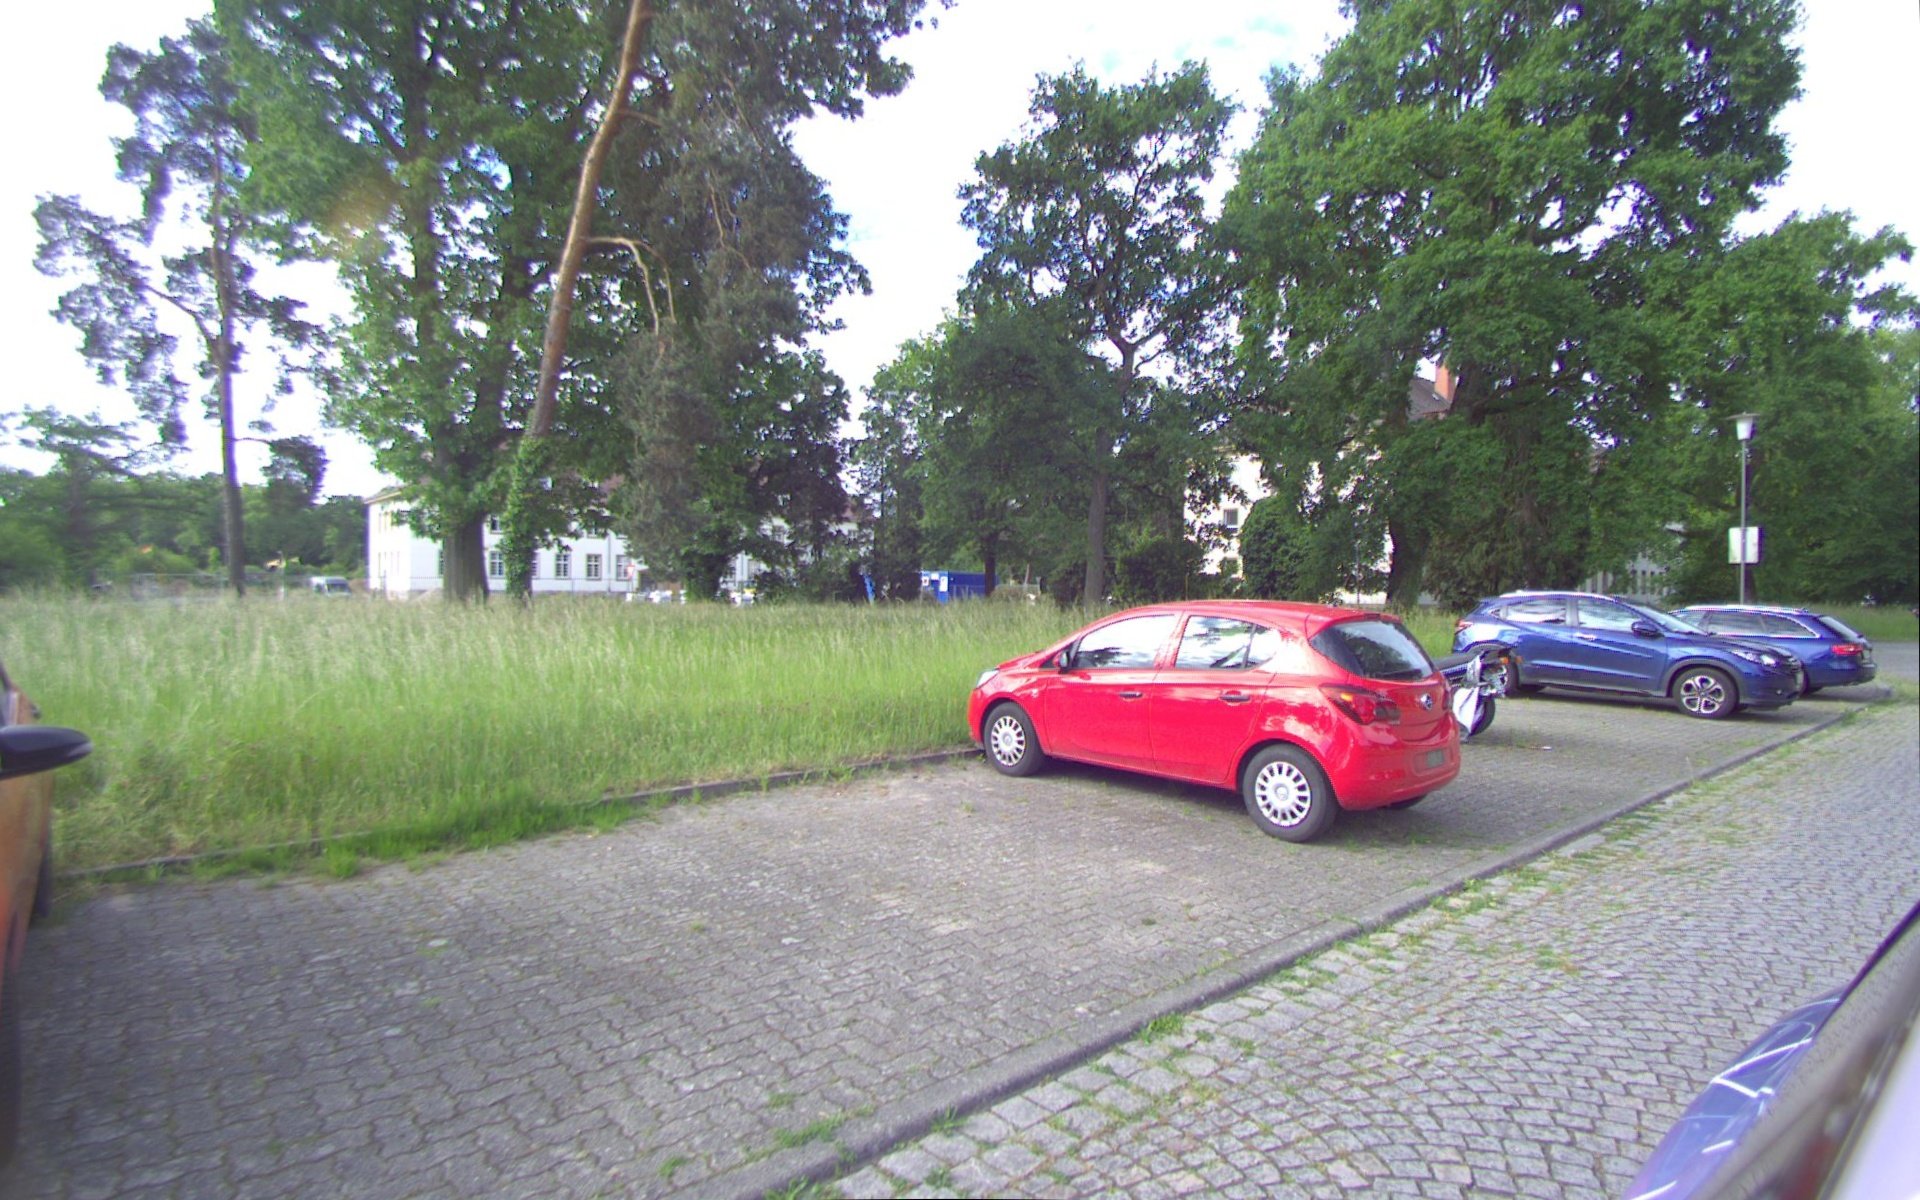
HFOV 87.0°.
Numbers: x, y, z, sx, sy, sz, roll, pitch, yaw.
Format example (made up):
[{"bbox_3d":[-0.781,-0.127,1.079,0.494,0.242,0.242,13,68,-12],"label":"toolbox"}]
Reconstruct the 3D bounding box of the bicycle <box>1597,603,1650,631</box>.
[{"bbox_3d":[28.271,0.717,43.140,1.792,1.101,0.475,1,3,23],"label":"bicycle"}]

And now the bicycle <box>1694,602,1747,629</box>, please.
[{"bbox_3d":[33.652,0.692,44.788,1.791,1.101,0.548,1,3,28],"label":"bicycle"}]

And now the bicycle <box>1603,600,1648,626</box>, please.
[{"bbox_3d":[29.584,0.584,45.010,1.546,1.102,0.559,1,1,19],"label":"bicycle"}]

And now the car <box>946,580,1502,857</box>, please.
[{"bbox_3d":[1.801,0.653,7.819,1.708,1.524,3.846,0,1,-42],"label":"car"}]

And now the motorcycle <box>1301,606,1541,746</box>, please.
[{"bbox_3d":[4.871,0.746,10.852,2.265,1.291,0.596,2,1,45],"label":"motorcycle"}]

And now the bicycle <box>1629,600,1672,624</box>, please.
[{"bbox_3d":[31.564,0.544,46.308,1.550,1.047,0.472,1,1,26],"label":"bicycle"}]

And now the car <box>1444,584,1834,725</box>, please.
[{"bbox_3d":[9.498,0.638,14.450,1.862,1.593,4.271,1,2,-41],"label":"car"}]

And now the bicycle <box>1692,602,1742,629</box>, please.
[{"bbox_3d":[34.002,0.683,45.479,1.735,1.101,0.548,1,3,28],"label":"bicycle"}]

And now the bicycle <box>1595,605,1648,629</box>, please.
[{"bbox_3d":[28.511,0.731,43.640,1.835,1.002,0.453,1,1,23],"label":"bicycle"}]

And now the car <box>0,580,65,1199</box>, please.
[{"bbox_3d":[-3.909,0.698,3.064,1.707,1.537,3.994,0,1,-41],"label":"car"}]

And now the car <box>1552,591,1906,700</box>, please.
[{"bbox_3d":[13.062,0.675,17.475,1.860,1.483,4.518,1,2,-37],"label":"car"}]

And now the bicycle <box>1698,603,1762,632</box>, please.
[{"bbox_3d":[31.442,0.712,41.339,1.999,1.101,0.474,1,3,28],"label":"bicycle"}]
